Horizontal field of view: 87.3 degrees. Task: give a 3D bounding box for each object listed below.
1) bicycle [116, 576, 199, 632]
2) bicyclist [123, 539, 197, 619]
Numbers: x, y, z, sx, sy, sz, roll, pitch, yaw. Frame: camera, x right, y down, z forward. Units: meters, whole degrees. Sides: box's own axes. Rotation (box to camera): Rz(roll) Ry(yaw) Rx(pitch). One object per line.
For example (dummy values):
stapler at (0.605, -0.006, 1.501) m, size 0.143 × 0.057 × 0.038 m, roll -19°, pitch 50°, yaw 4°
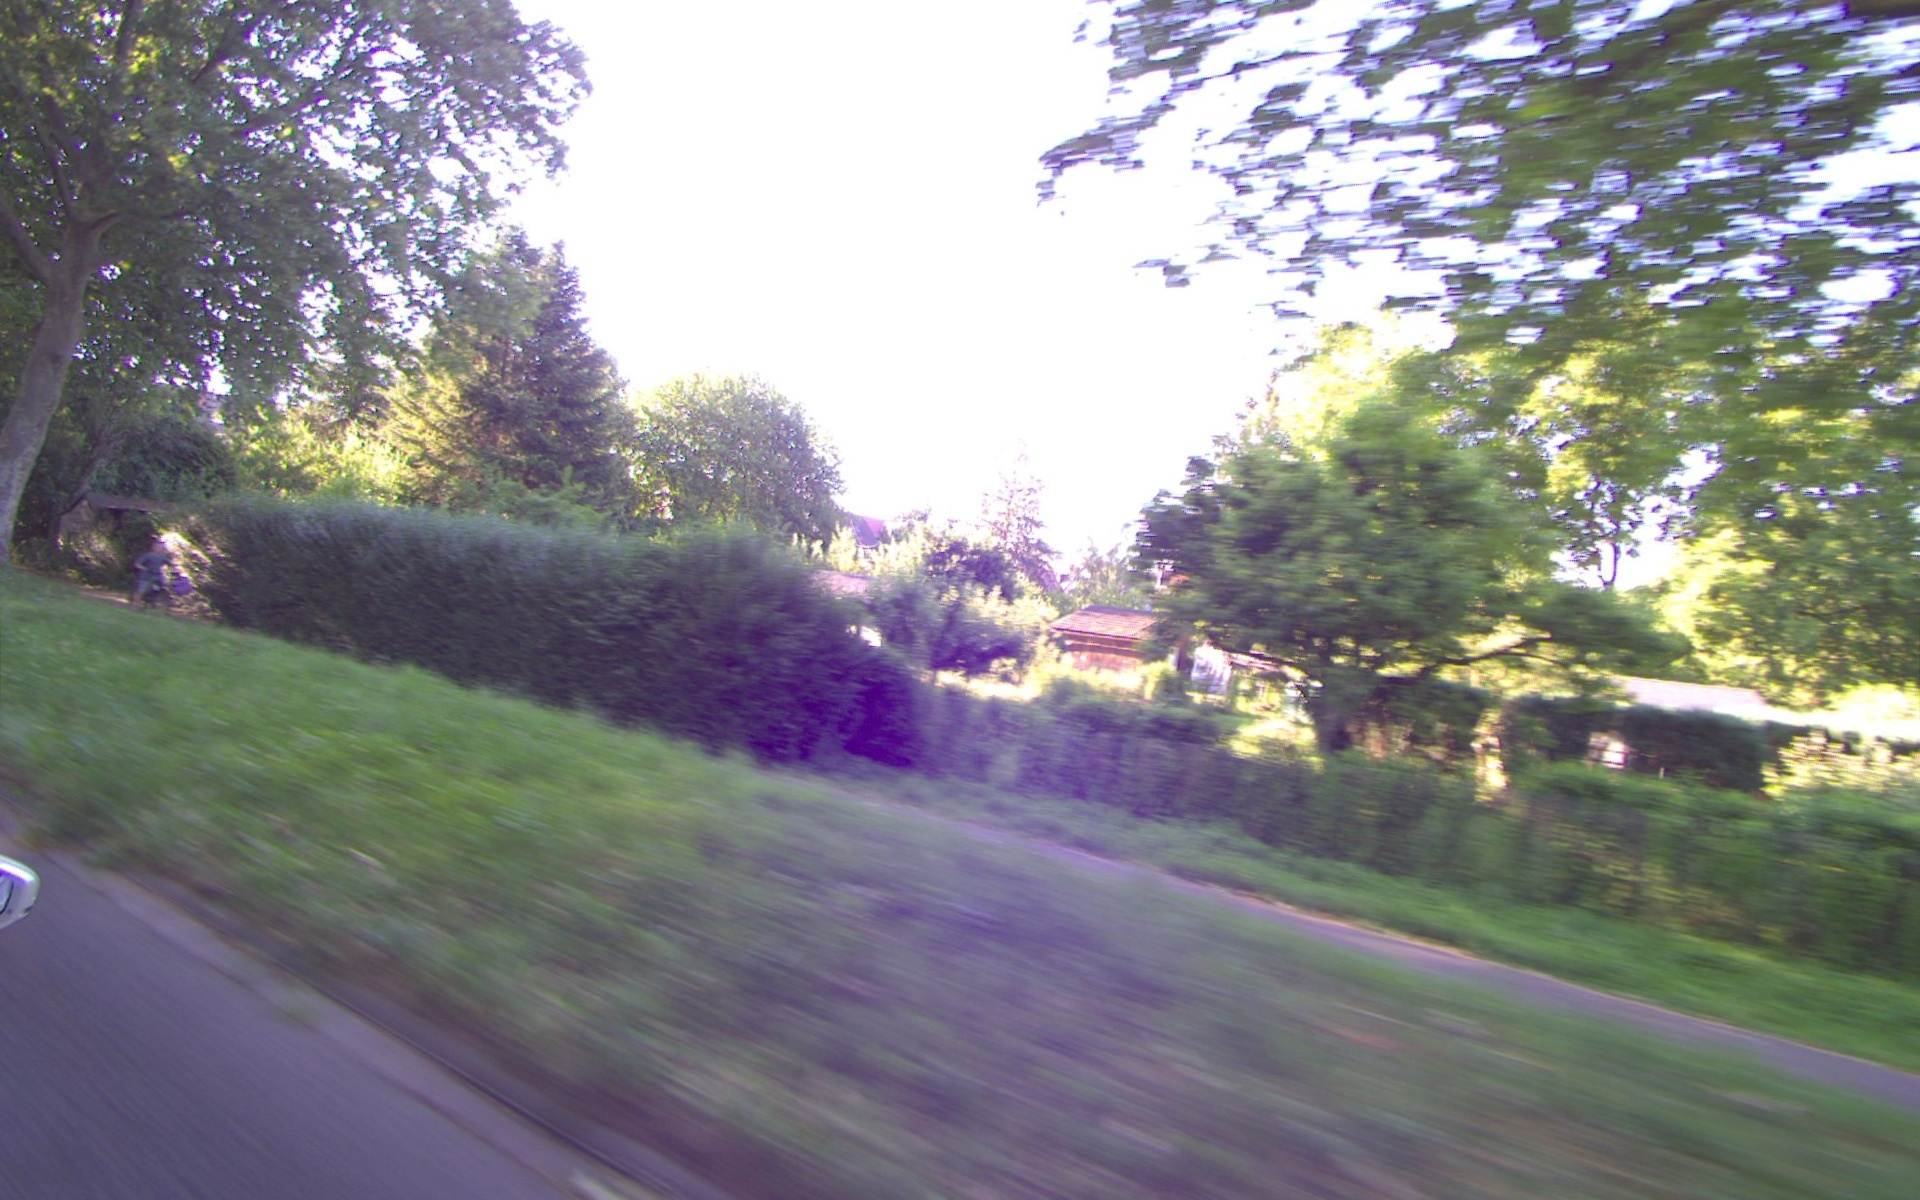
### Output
bicycle at (-15.120, 0.063, 18.939) m, size 1.857 × 0.826 × 0.553 m, roll 6°, pitch -1°, yaw 31°
bicyclist at (-15.054, -0.388, 18.934) m, size 0.758 × 1.382 × 0.735 m, roll 7°, pitch -1°, yaw 31°
